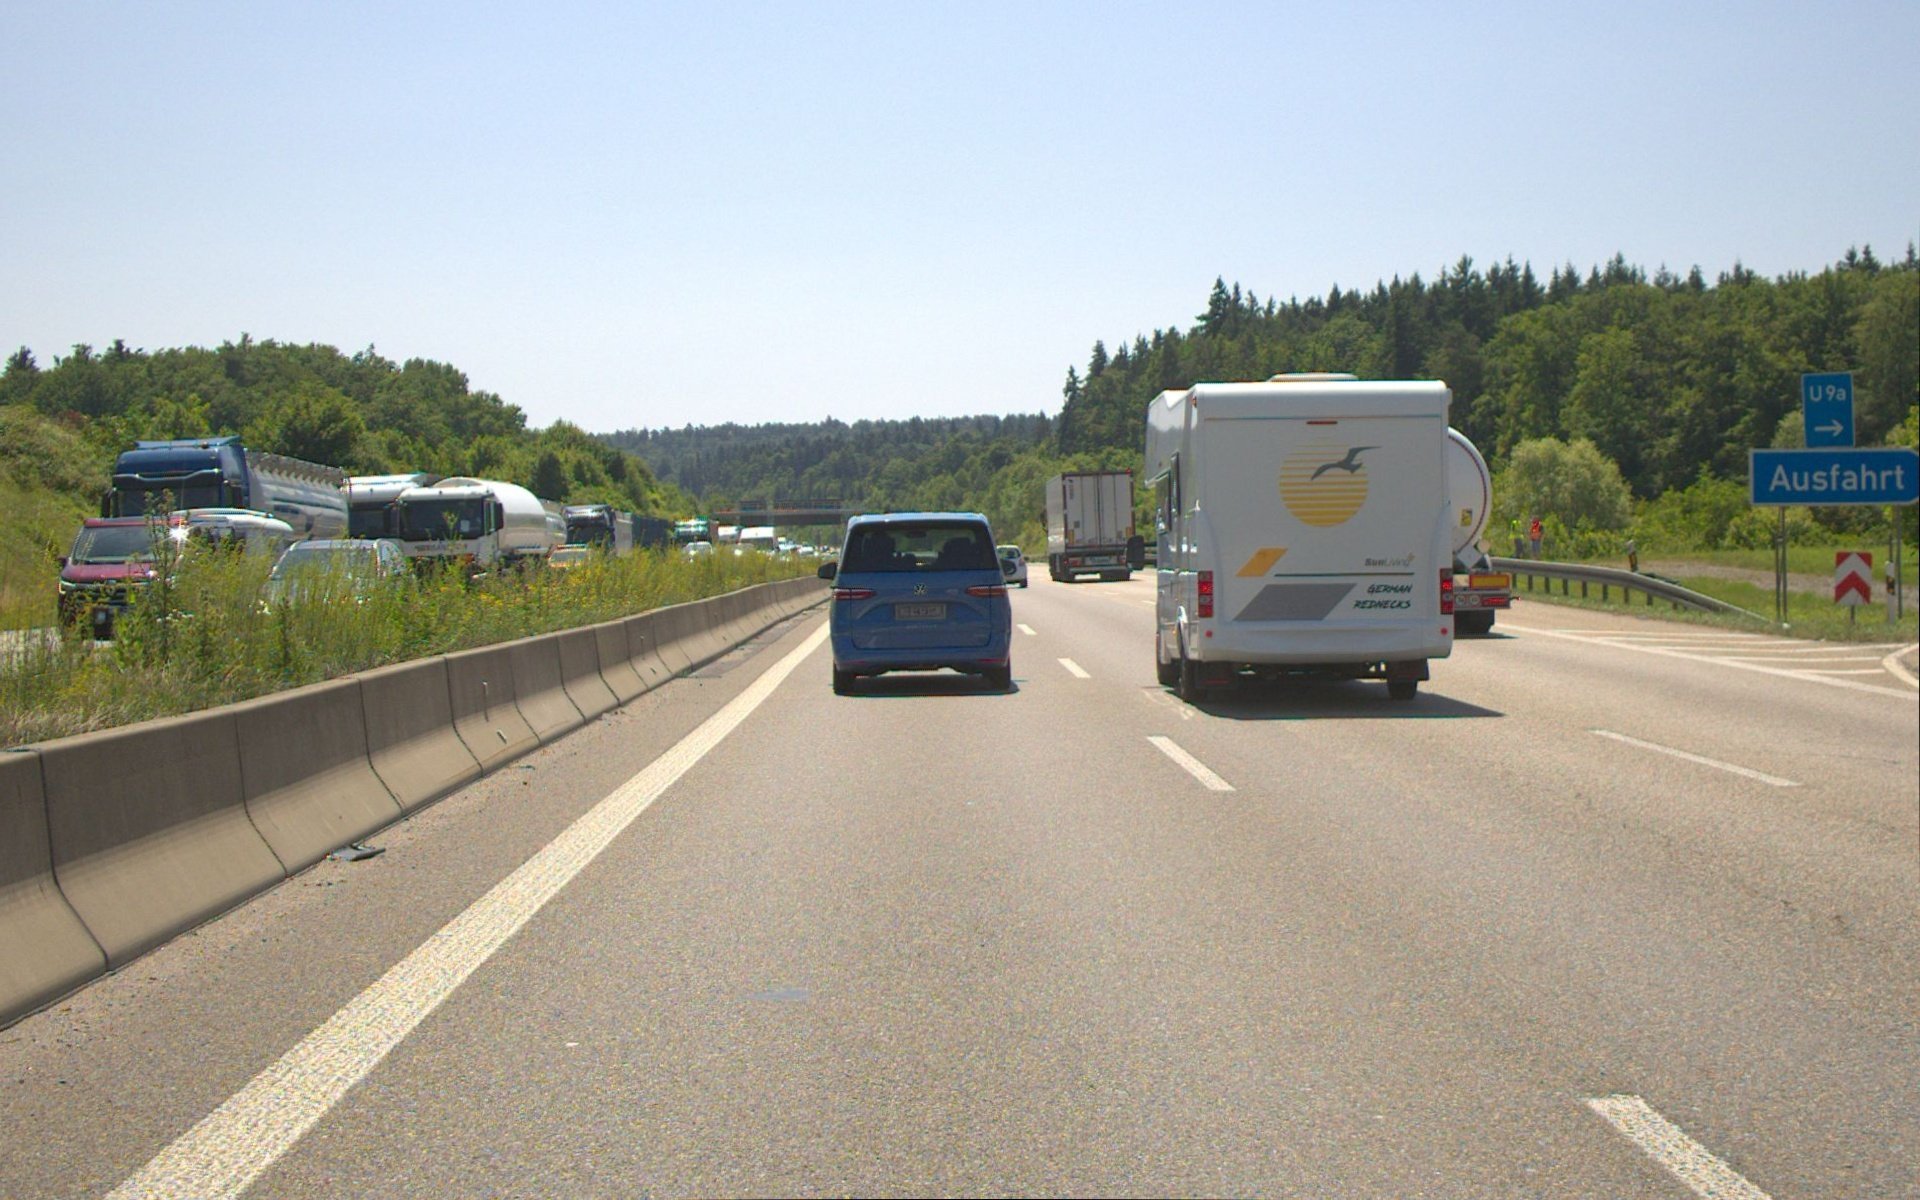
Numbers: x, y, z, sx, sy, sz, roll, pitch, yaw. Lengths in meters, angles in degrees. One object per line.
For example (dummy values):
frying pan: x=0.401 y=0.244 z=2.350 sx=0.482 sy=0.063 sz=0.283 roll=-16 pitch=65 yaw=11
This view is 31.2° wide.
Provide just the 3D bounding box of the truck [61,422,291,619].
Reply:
truck: x=-16.876 y=-1.680 z=74.475 sx=3.490 sy=4.023 sz=6.644 roll=1 pitch=0 yaw=-1

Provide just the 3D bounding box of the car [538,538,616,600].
car: x=-13.115 y=-1.096 z=118.038 sx=2.086 sy=2.056 sz=5.059 roll=-1 pitch=1 yaw=0

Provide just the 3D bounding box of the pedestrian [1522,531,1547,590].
pedestrian: x=20.361 y=-1.382 z=121.815 sx=0.688 sy=2.073 sz=0.928 roll=1 pitch=0 yaw=0

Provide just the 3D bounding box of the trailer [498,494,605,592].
trailer: x=-17.242 y=-2.377 z=145.920 sx=2.679 sy=3.936 sz=13.244 roll=1 pitch=0 yaw=1

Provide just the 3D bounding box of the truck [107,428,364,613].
truck: x=-17.021 y=-1.872 z=81.909 sx=3.578 sy=4.079 sz=12.580 roll=0 pitch=1 yaw=-1

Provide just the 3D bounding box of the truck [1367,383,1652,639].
truck: x=8.274 y=-1.385 z=52.880 sx=2.928 sy=3.563 sz=8.527 roll=-1 pitch=2 yaw=0

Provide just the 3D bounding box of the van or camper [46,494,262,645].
van or camper: x=-12.379 y=-0.474 z=53.206 sx=1.993 sy=2.145 sz=5.956 roll=-2 pitch=0 yaw=-1

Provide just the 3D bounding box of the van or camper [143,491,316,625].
van or camper: x=-12.469 y=-0.708 z=58.948 sx=1.993 sy=2.145 sz=4.718 roll=-2 pitch=0 yaw=-1

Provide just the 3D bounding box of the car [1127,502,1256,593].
car: x=3.991 y=-0.900 z=59.772 sx=1.909 sy=1.470 sz=4.000 roll=-1 pitch=0 yaw=-1

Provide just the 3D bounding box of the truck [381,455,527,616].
truck: x=-12.788 y=-1.596 z=87.414 sx=2.618 sy=3.876 sz=7.403 roll=-1 pitch=0 yaw=-1

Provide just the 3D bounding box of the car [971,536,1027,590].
car: x=1.320 y=-1.265 z=118.171 sx=1.818 sy=1.788 sz=3.894 roll=1 pitch=0 yaw=-1

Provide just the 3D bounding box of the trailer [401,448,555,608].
trailer: x=-12.994 y=-1.896 z=93.634 sx=2.679 sy=3.936 sz=11.647 roll=-3 pitch=1 yaw=-1

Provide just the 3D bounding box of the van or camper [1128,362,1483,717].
van or camper: x=3.197 y=-0.557 z=33.640 sx=2.603 sy=3.068 sz=7.182 roll=1 pitch=0 yaw=-1

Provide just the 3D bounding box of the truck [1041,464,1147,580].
truck: x=4.948 y=-2.855 z=128.631 sx=3.487 sy=4.156 sz=8.642 roll=1 pitch=0 yaw=-1

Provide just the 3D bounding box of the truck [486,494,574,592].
truck: x=-17.320 y=-2.263 z=138.820 sx=2.692 sy=3.865 sz=6.317 roll=0 pitch=0 yaw=1

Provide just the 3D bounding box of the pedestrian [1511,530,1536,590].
pedestrian: x=19.590 y=-1.375 z=119.531 sx=0.688 sy=2.073 sz=0.928 roll=1 pitch=0 yaw=0

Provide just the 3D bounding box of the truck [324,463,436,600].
truck: x=-17.757 y=-2.061 z=105.607 sx=2.088 sy=4.015 sz=7.878 roll=1 pitch=0 yaw=0

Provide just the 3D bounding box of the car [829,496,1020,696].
car: x=-0.383 y=-0.054 z=37.182 sx=1.909 sy=2.007 sz=4.000 roll=-1 pitch=0 yaw=-1
